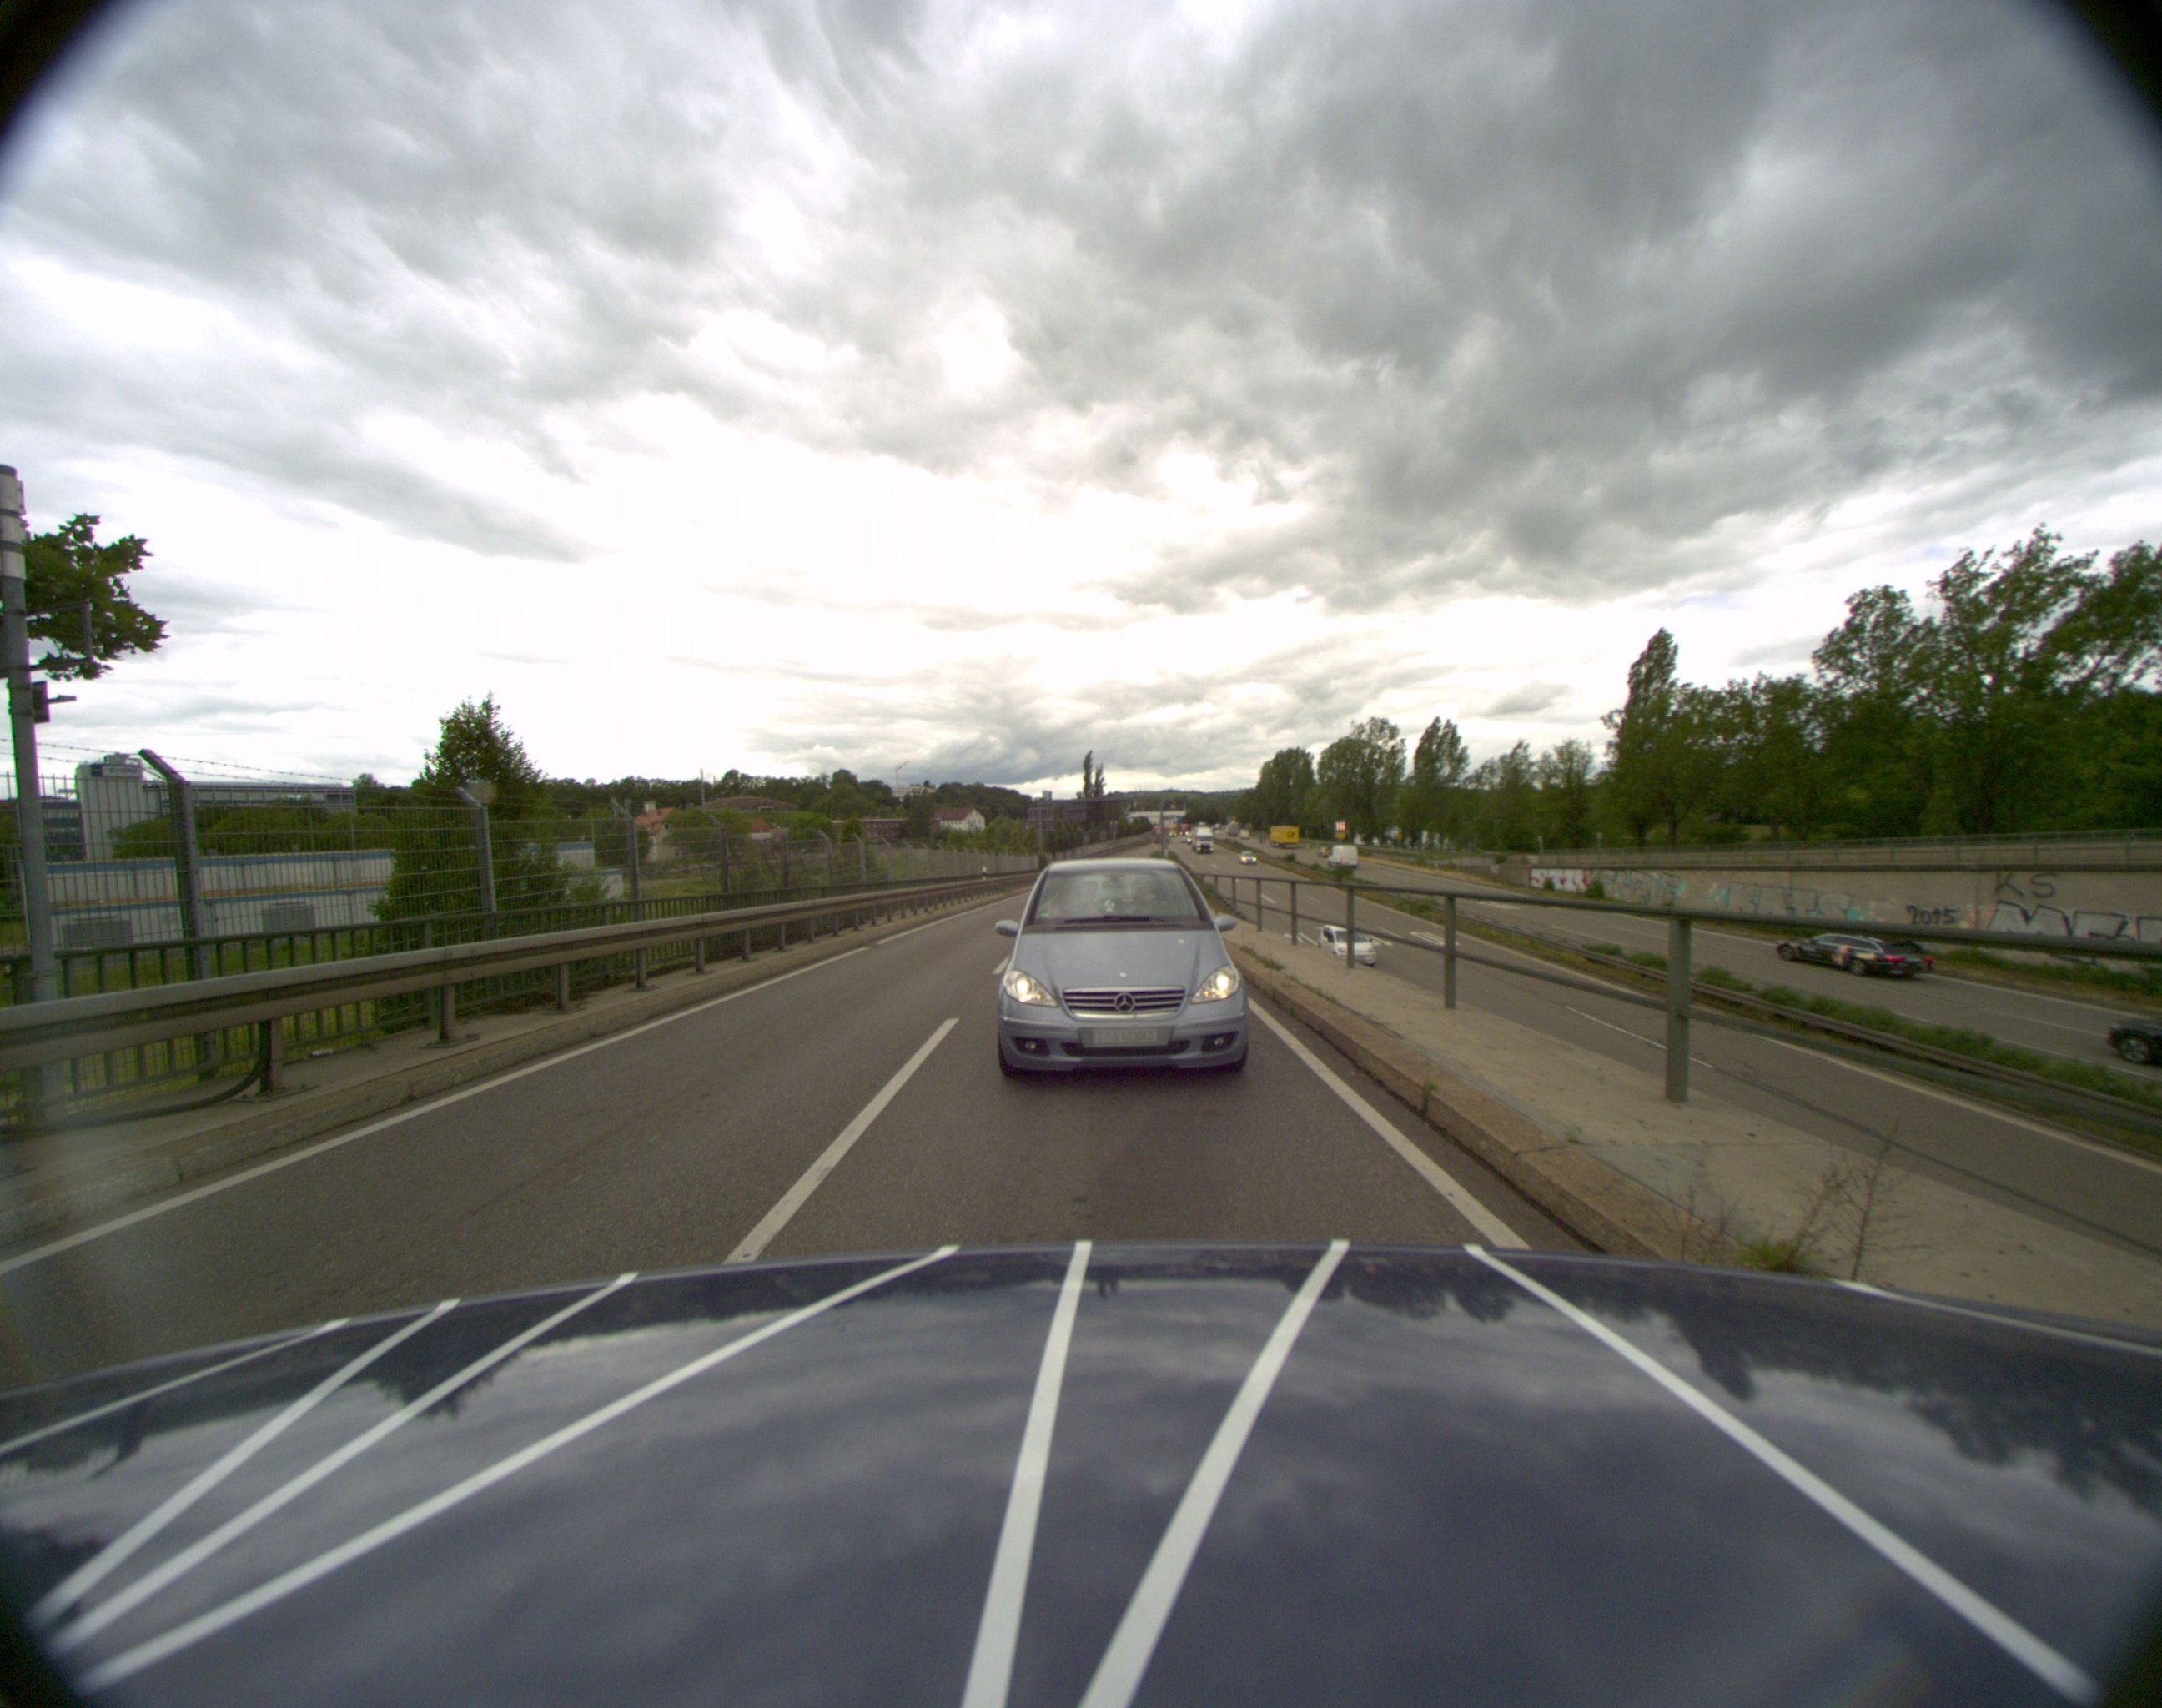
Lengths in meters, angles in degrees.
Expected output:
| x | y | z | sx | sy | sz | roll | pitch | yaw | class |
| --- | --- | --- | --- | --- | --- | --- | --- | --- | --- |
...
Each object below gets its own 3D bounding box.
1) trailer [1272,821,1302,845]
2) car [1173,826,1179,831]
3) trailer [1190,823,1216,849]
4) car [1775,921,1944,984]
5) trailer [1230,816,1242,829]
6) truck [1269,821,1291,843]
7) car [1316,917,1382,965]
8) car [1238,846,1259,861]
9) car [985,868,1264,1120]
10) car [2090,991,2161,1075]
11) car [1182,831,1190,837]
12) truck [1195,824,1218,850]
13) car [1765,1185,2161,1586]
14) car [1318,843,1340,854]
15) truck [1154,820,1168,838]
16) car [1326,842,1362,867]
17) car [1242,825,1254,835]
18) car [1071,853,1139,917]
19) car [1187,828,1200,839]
| x | y | z | sx | sy | sz | roll | pitch | yaw | class |
| --- | --- | --- | --- | --- | --- | --- | --- | --- | --- |
| 38.529 | -4.031 | 142.620 | 3.247 | 4.239 | 13.678 | 0 | 3 | 5 | trailer |
| 31.312 | -8.290 | 249.696 | 1.810 | 1.658 | 3.999 | -1 | 3 | 4 | car |
| 20.974 | -3.213 | 131.550 | 3.010 | 4.087 | 13.985 | 0 | 3 | 4 | trailer |
| 30.267 | 3.767 | 29.798 | 1.864 | 1.643 | 4.631 | -1 | 3 | 1 | car |
| 51.774 | -10.713 | 254.624 | 2.792 | 4.117 | 13.763 | -1 | 3 | 7 | trailer |
| 39.123 | -4.398 | 149.355 | 3.247 | 4.159 | 5.803 | 0 | 3 | 5 | truck |
| 11.491 | 3.702 | 32.829 | 1.769 | 1.520 | 3.335 | 0 | 3 | 3 | car |
| 21.424 | -0.122 | 97.314 | 1.854 | 1.562 | 4.436 | -1 | 4 | 2 | car |
| 0.308 | 0.922 | 6.783 | 1.743 | 1.534 | 3.993 | -1 | 0 | 1 | car |
| 26.657 | 4.430 | 17.236 | 1.886 | 1.709 | 4.180 | -1 | 3 | 1 | car |
| 25.237 | -4.754 | 182.225 | 1.512 | 1.365 | 3.536 | 0 | 3 | 3 | car |
| 20.509 | -2.830 | 124.341 | 3.010 | 4.087 | 5.872 | 0 | 3 | 4 | truck |
| 9.730 | 5.063 | 7.670 | 1.998 | 1.524 | 3.998 | 0 | 3 | 1 | car |
| 35.754 | -0.797 | 109.807 | 1.872 | 1.449 | 4.151 | -1 | 3 | 1 | car |
| 18.923 | -5.956 | 179.935 | 3.101 | 3.990 | 8.487 | -1 | 4 | 5 | truck |
| 30.301 | -0.016 | 87.689 | 2.172 | 2.580 | 6.099 | -1 | 3 | 1 | car |
| 45.856 | -6.699 | 208.859 | 1.998 | 2.614 | 6.711 | 1 | 3 | 3 | car |
| 0.685 | 0.899 | 23.094 | 1.830 | 1.701 | 4.001 | -2 | -1 | 1 | car |
| 24.908 | -4.471 | 168.043 | 2.104 | 2.231 | 6.498 | 0 | 3 | 3 | car |
